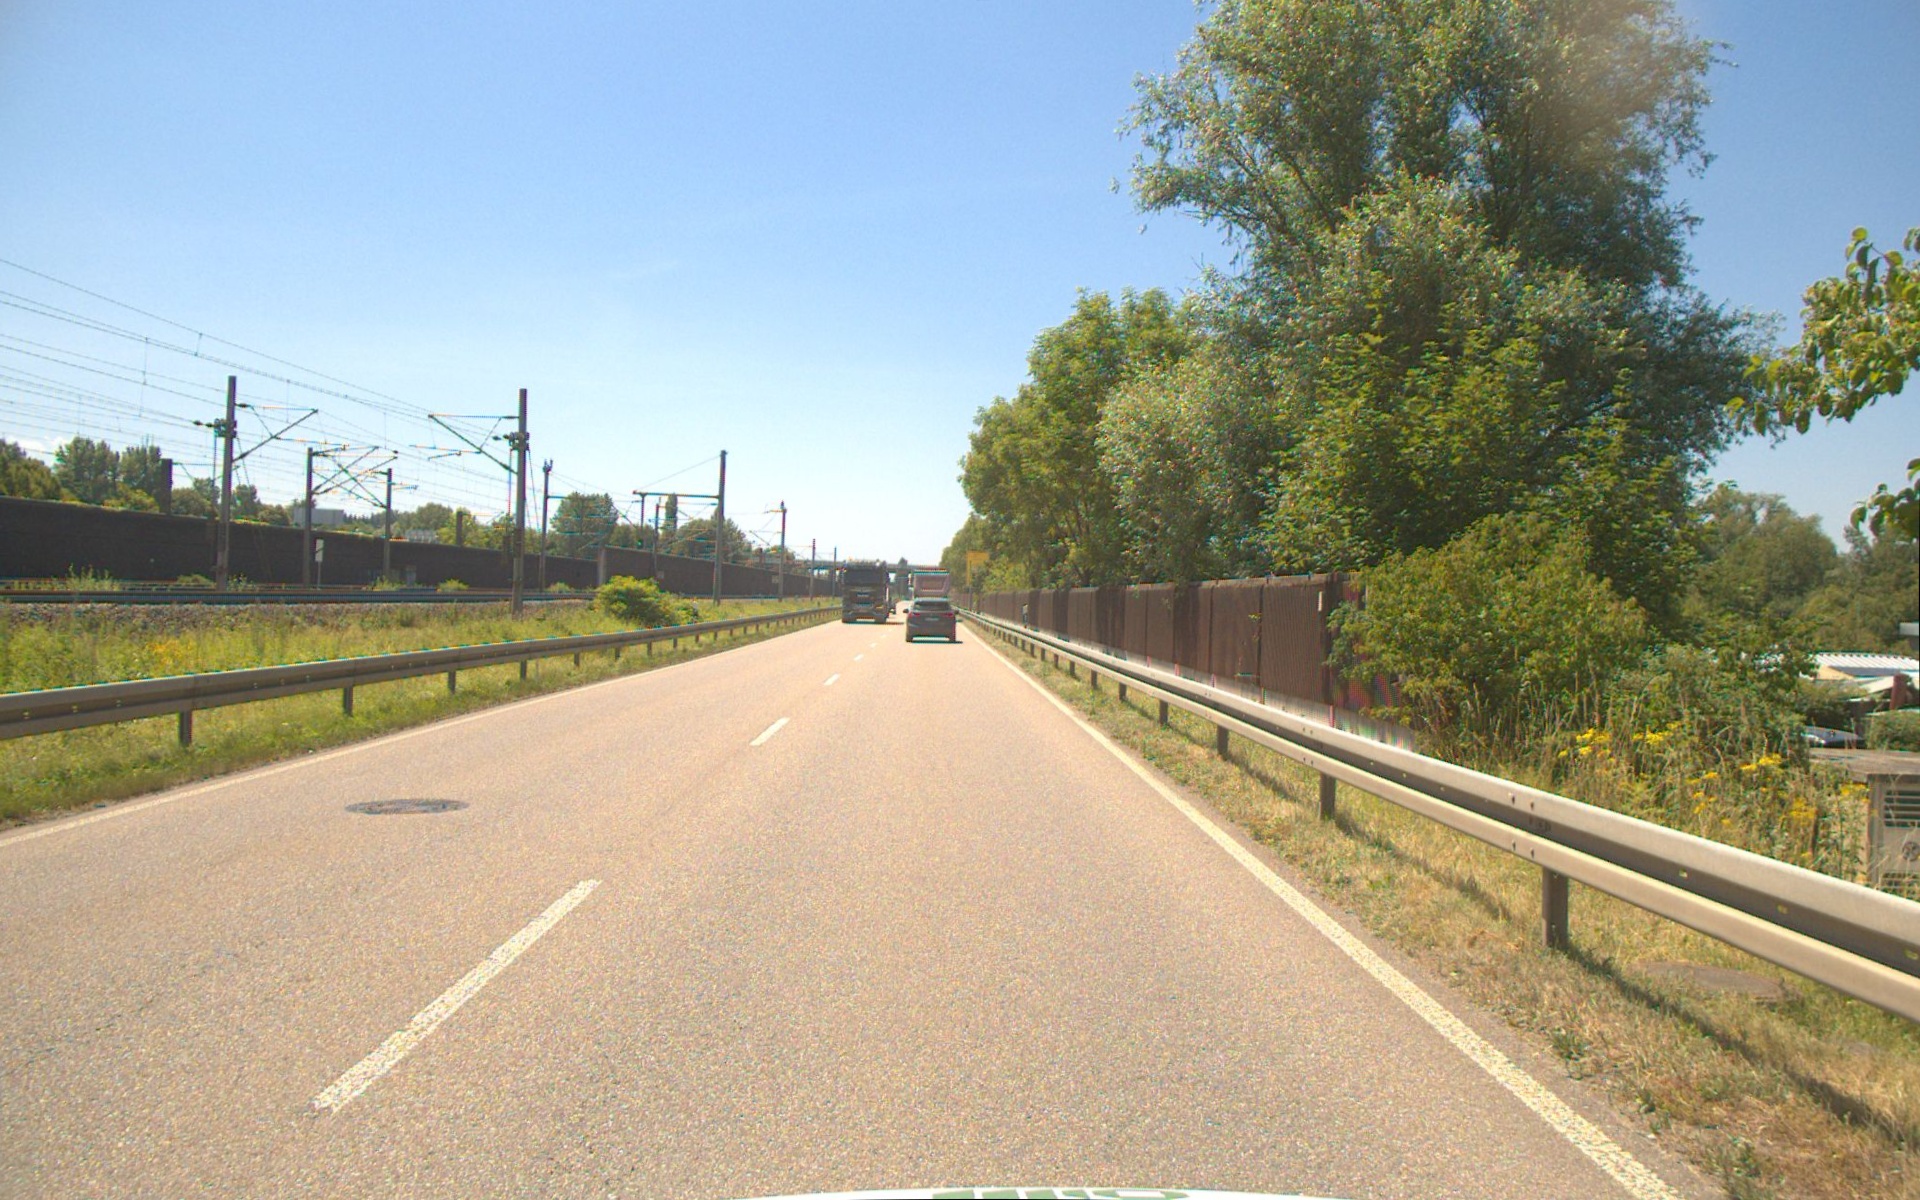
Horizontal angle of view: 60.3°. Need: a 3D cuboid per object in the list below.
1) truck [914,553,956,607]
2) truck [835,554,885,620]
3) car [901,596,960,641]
[{"bbox_3d":[-1.749,-1.297,113.741,2.714,3.485,10.817,1,0,-1],"label":"truck"},{"bbox_3d":[-5.908,-0.782,99.149,2.605,3.690,10.973,1,0,-2],"label":"truck"},{"bbox_3d":[-1.106,0.633,59.379,1.954,1.534,3.998,1,0,-3],"label":"car"}]
